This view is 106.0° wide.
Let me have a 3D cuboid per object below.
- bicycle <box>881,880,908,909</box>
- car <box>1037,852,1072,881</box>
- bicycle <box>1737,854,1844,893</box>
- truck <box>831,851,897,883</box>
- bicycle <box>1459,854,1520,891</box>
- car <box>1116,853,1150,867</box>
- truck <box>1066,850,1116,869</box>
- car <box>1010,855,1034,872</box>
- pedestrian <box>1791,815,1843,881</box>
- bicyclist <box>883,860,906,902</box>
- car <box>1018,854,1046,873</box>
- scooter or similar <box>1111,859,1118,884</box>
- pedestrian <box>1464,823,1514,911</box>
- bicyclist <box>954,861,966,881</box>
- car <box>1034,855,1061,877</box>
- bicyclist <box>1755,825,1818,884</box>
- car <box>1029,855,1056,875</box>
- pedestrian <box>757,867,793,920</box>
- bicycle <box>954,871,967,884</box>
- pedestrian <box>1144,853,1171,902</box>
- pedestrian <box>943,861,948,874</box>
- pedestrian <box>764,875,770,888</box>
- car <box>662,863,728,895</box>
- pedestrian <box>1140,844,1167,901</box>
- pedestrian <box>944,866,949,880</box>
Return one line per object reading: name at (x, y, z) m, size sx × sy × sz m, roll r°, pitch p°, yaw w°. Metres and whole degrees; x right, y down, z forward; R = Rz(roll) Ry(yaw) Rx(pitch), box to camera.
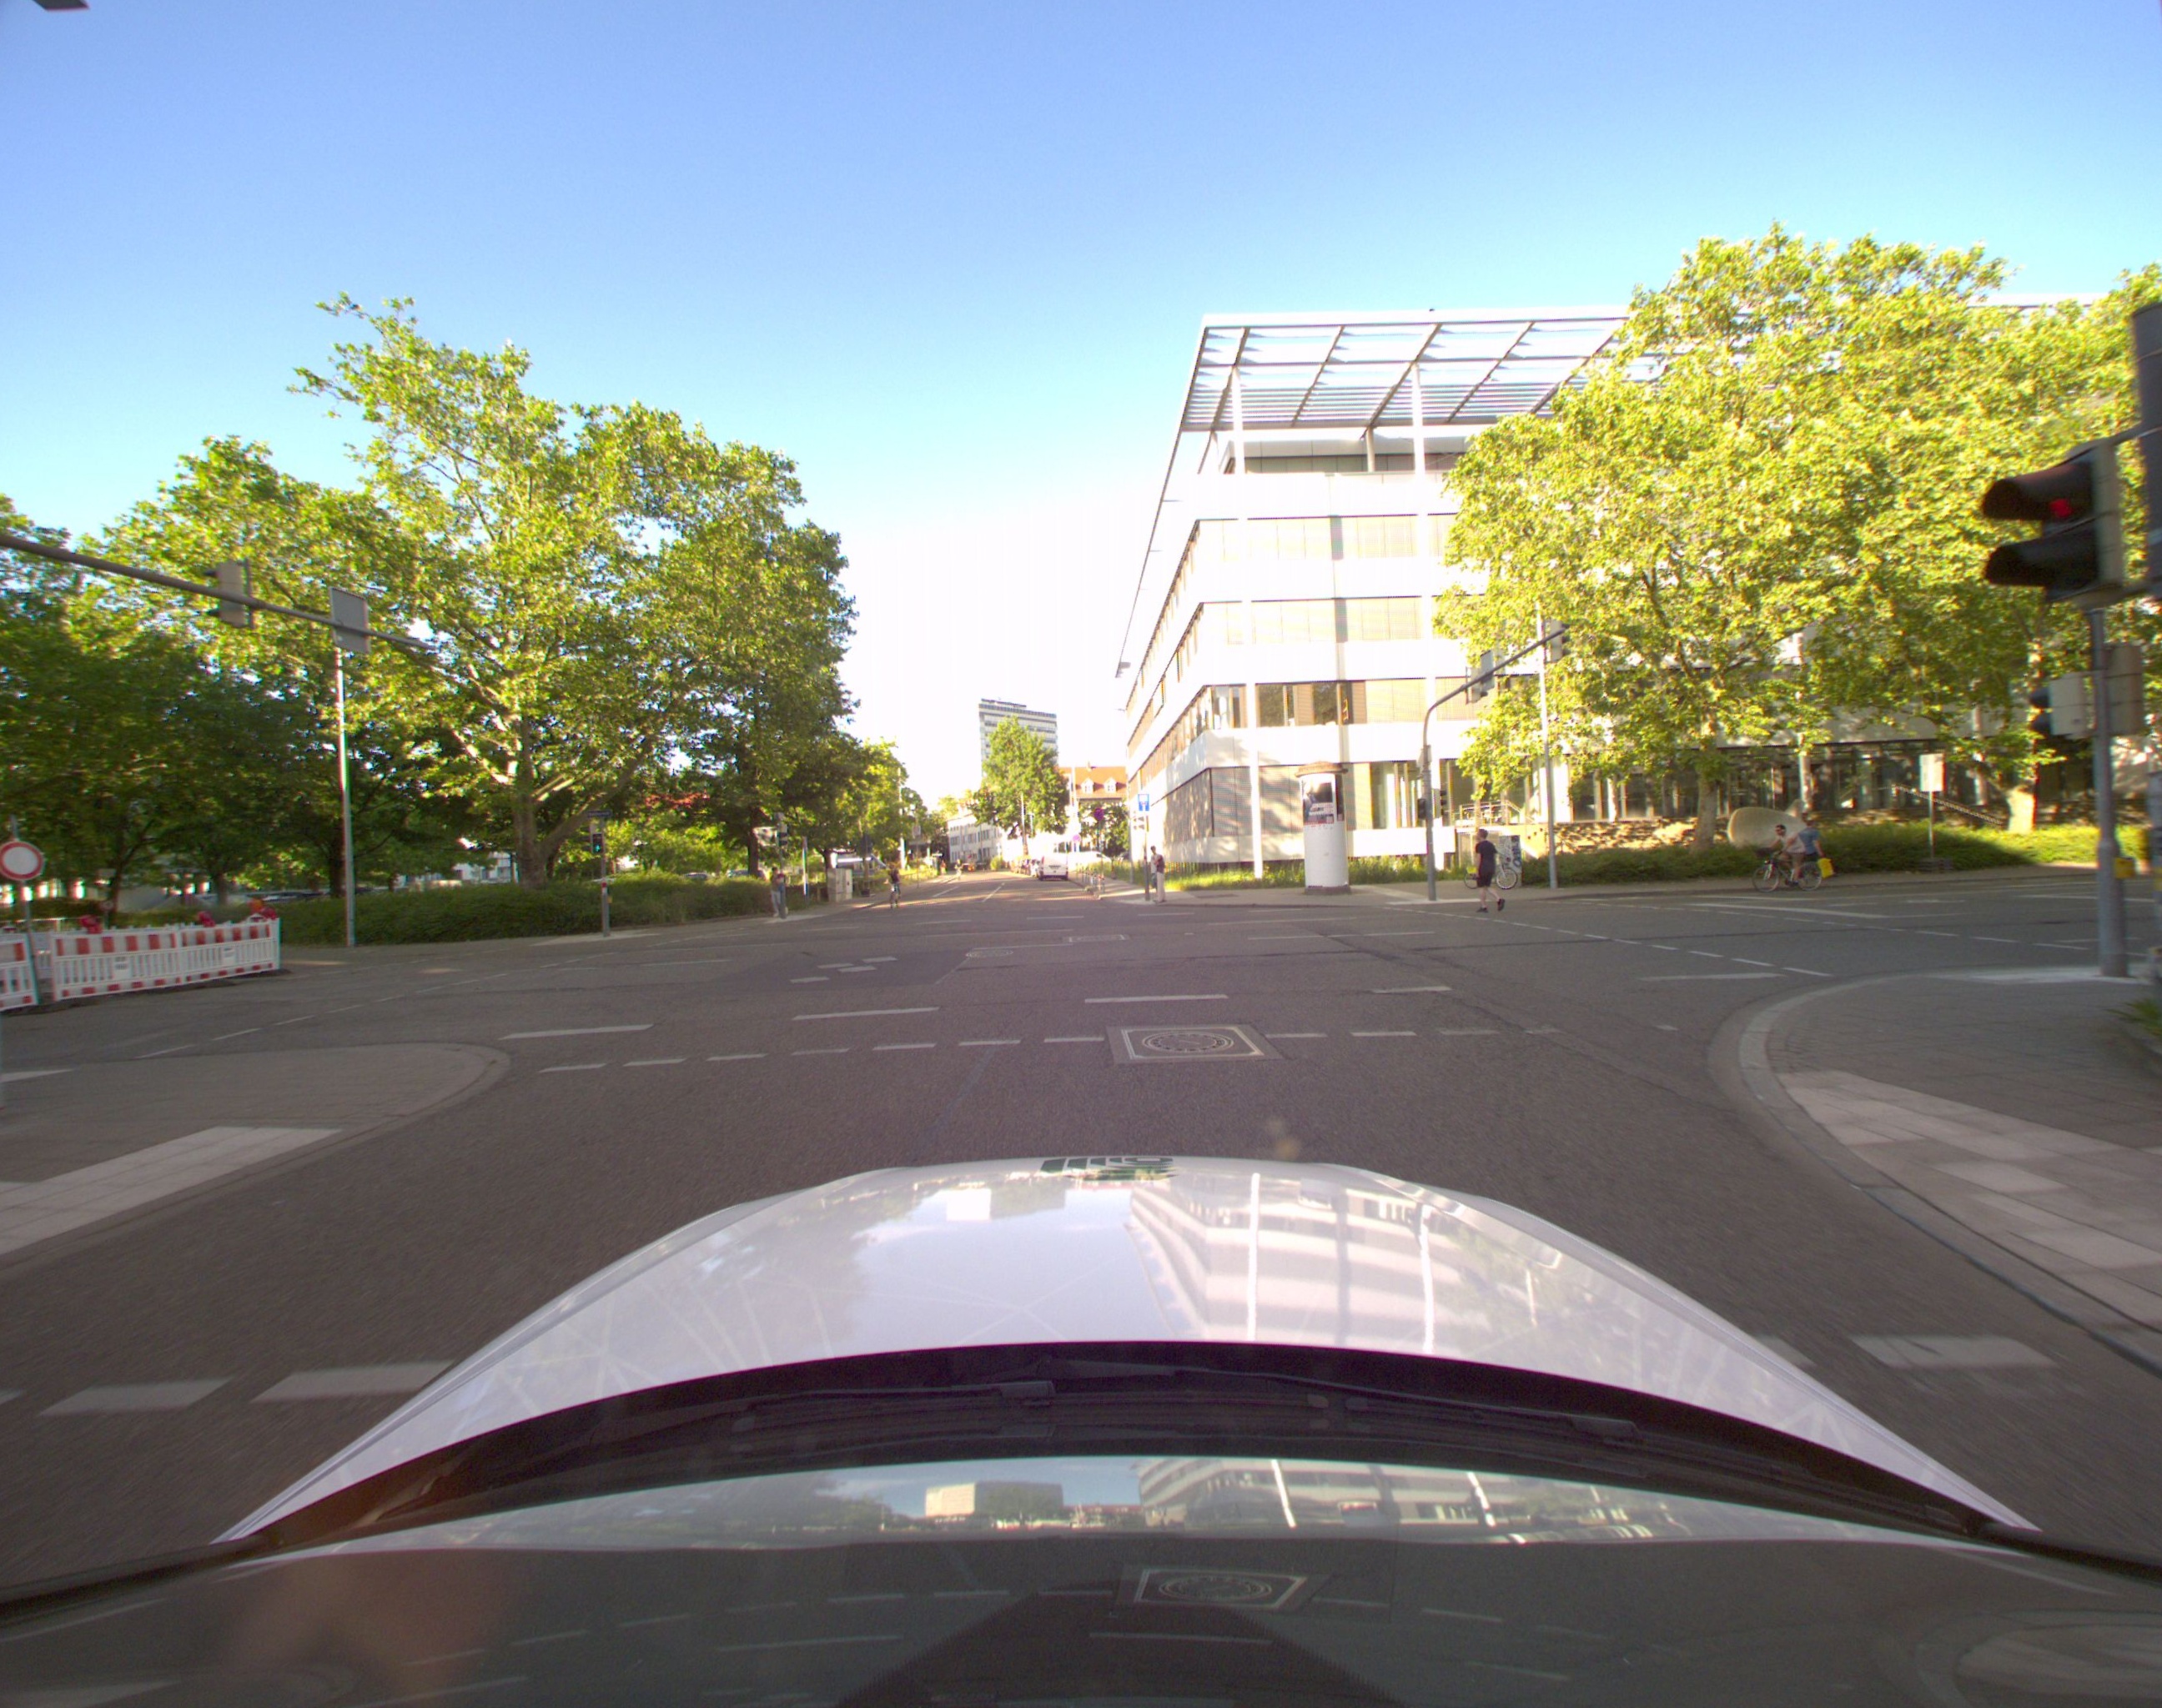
bicycle at (-6.961, 1.486, 30.480) m, size 0.614 × 0.970 × 1.839 m, roll -3°, pitch 0°, yaw -3°
car at (-1.839, 0.787, 55.145) m, size 2.081 × 1.795 × 4.408 m, roll -2°, pitch 1°, yaw -5°
bicycle at (18.737, 0.507, 21.531) m, size 2.102 × 0.927 × 0.732 m, roll -2°, pitch 0°, yaw 4°
truck at (-17.724, 1.041, 66.803) m, size 4.820 × 2.399 × 2.084 m, roll -2°, pitch 0°, yaw -5°
bicycle at (12.520, 0.544, 25.008) m, size 0.510 × 1.049 × 1.672 m, roll -4°, pitch 3°, yaw -29°
car at (5.981, 0.689, 94.096) m, size 3.560 × 1.546 × 1.551 m, roll -2°, pitch -1°, yaw -14°
truck at (1.180, 0.600, 93.304) m, size 5.345 × 2.014 × 1.990 m, roll -2°, pitch -1°, yaw -14°
car at (-6.257, 0.944, 86.321) m, size 1.890 × 1.655 × 4.395 m, roll -2°, pitch 1°, yaw -13°
pedestrian at (20.785, -0.168, 23.000) m, size 0.833 × 1.840 × 0.708 m, roll -1°, pitch 0°, yaw -5°
bicyclist at (-6.983, 0.988, 30.497) m, size 0.614 × 1.532 × 0.902 m, roll -3°, pitch 0°, yaw -3°
car at (-4.591, 0.892, 76.199) m, size 1.890 × 1.655 × 4.395 m, roll -2°, pitch 1°, yaw -13°
scooter or similar at (2.016, 1.044, 48.518) m, size 0.329 × 1.424 × 1.334 m, roll -1°, pitch -1°, yaw 0°
pedestrian at (8.772, 0.277, 17.540) m, size 0.703 × 1.840 × 0.838 m, roll -1°, pitch 0°, yaw 5°
bicyclist at (-9.944, 1.390, 67.011) m, size 0.865 × 1.515 × 1.017 m, roll -5°, pitch -1°, yaw -6°
car at (-2.636, 0.885, 63.355) m, size 1.885 × 1.555 × 4.408 m, roll -2°, pitch 1°, yaw -4°
bicyclist at (18.646, 0.009, 21.534) m, size 0.948 × 1.489 × 0.750 m, roll -2°, pitch 0°, yaw 4°
car at (-3.258, 0.891, 68.803) m, size 1.887 × 1.555 × 4.403 m, roll -2°, pitch 1°, yaw -8°
pedestrian at (-10.494, 1.332, 27.966) m, size 0.699 × 1.723 × 0.956 m, roll -4°, pitch -1°, yaw 6°
bicycle at (-9.908, 1.915, 66.989) m, size 0.864 × 1.009 × 2.409 m, roll -5°, pitch -1°, yaw -6°
pedestrian at (2.525, 0.775, 27.006) m, size 0.560 × 1.540 × 0.673 m, roll -6°, pitch 0°, yaw -13°
pedestrian at (-17.795, 1.808, 106.579) m, size 0.546 × 1.677 × 0.474 m, roll -3°, pitch 0°, yaw -12°
pedestrian at (-32.730, 2.837, 84.864) m, size 0.560 × 1.323 × 0.573 m, roll -3°, pitch 0°, yaw -21°
car at (-33.104, 2.145, 69.995) m, size 4.546 × 2.391 × 2.071 m, roll -3°, pitch -1°, yaw -4°
pedestrian at (2.468, 0.620, 27.621) m, size 0.554 × 1.850 × 0.681 m, roll -5°, pitch 0°, yaw 21°
pedestrian at (-14.902, 2.097, 90.076) m, size 0.433 × 1.608 × 0.491 m, roll -2°, pitch -1°, yaw -10°
